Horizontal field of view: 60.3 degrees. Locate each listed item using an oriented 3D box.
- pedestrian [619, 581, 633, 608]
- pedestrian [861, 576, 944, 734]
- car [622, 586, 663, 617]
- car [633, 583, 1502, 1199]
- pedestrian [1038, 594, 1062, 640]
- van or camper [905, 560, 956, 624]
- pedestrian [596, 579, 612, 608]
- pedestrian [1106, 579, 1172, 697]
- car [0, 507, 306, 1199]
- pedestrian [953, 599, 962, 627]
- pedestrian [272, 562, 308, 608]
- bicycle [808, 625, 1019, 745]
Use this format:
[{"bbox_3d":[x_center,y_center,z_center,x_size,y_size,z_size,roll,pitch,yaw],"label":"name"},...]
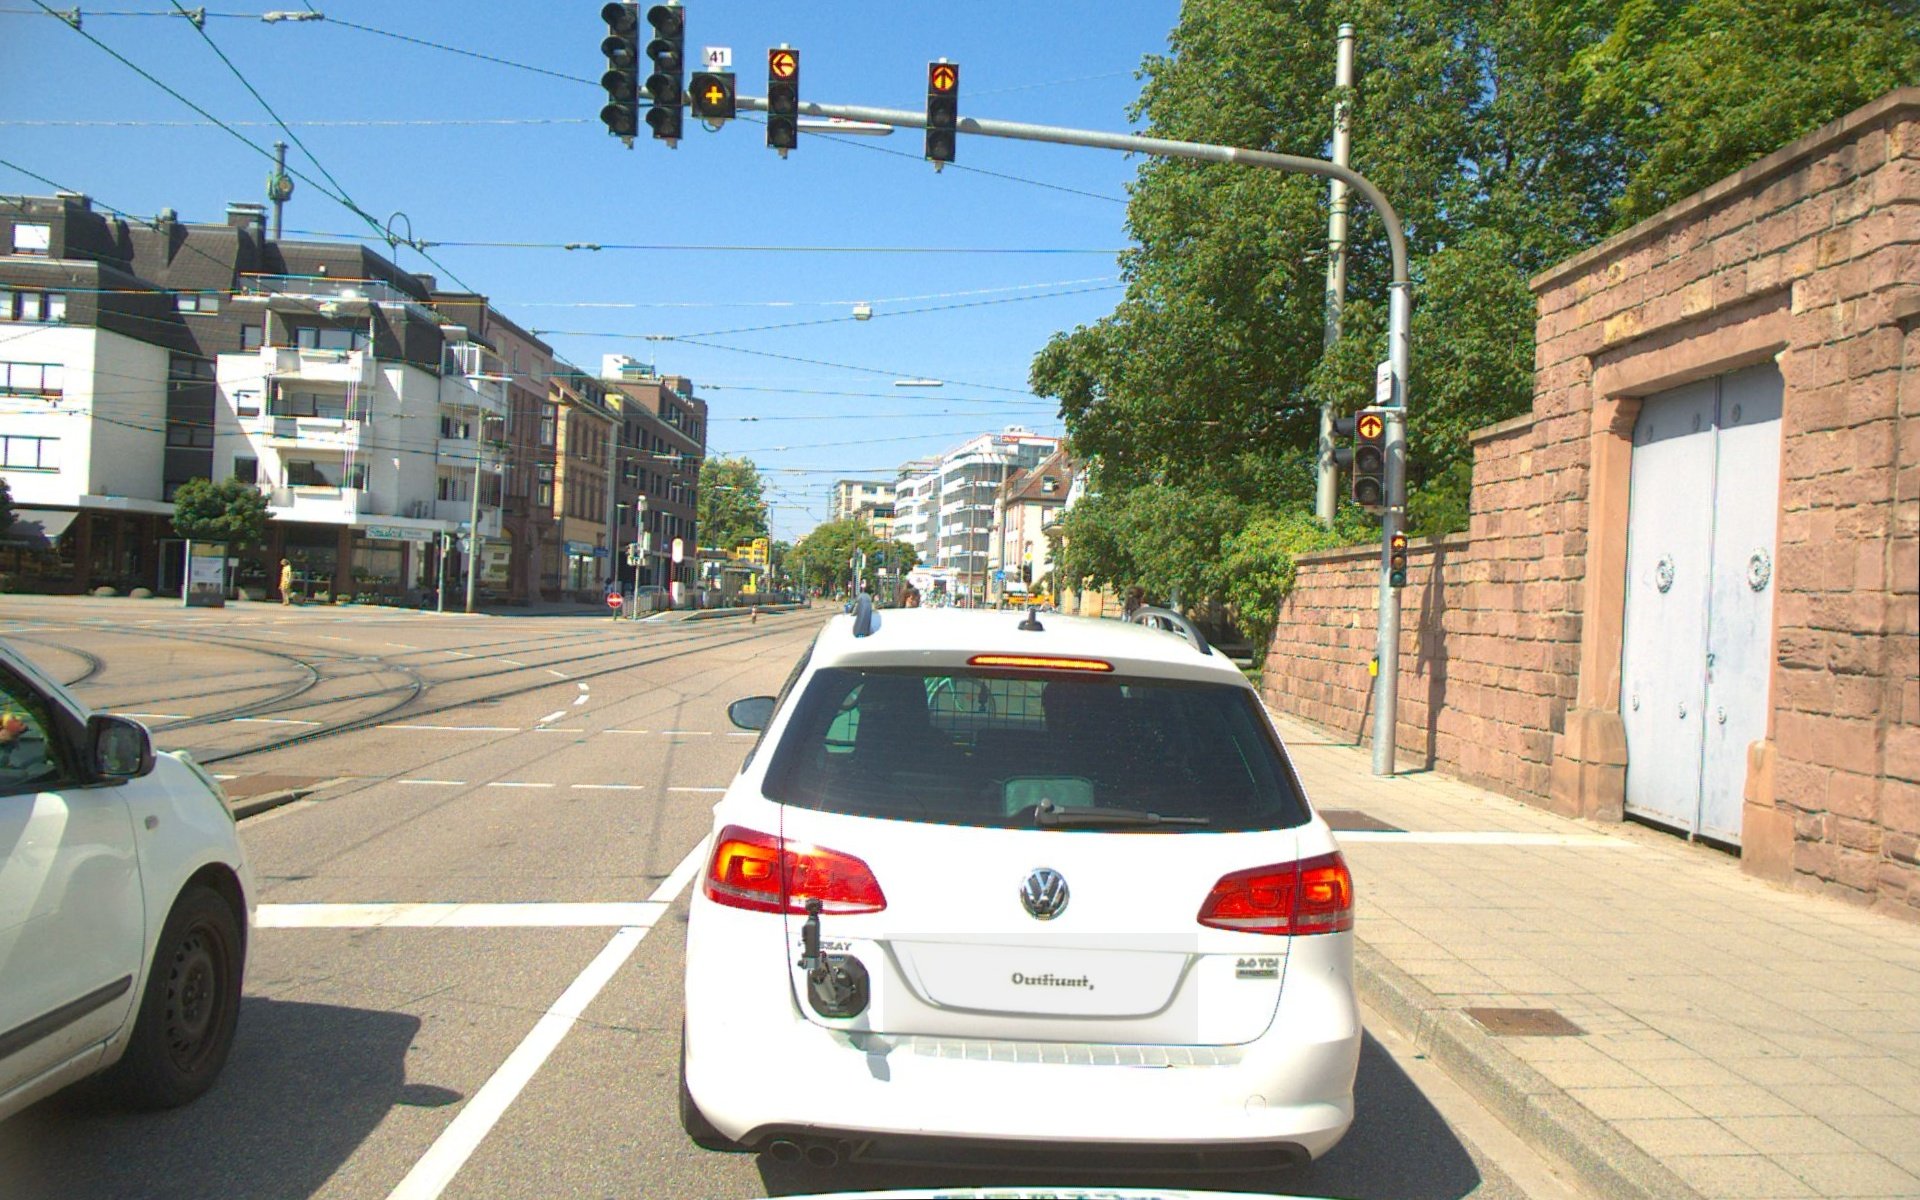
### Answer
[{"bbox_3d":[-22.099,-0.333,109.485,0.845,1.773,0.973,1,-1,-6],"label":"pedestrian"},{"bbox_3d":[-0.603,0.557,17.133,0.732,1.599,0.673,1,1,-12],"label":"pedestrian"},{"bbox_3d":[-17.641,0.114,92.038,1.706,1.646,3.996,0,-1,-4],"label":"car"},{"bbox_3d":[0.190,0.718,5.422,1.771,1.473,3.999,2,0,-1],"label":"car"},{"bbox_3d":[3.570,0.678,65.703,0.844,1.773,0.974,0,-1,-3],"label":"pedestrian"},{"bbox_3d":[-1.477,-0.363,84.794,2.514,3.147,5.701,0,-1,-1],"label":"van or camper"},{"bbox_3d":[-22.219,-0.423,103.305,0.845,1.773,0.973,1,-1,-6],"label":"pedestrian"},{"bbox_3d":[2.612,0.552,24.192,0.932,1.680,0.975,0,-1,6],"label":"pedestrian"},{"bbox_3d":[-2.840,0.595,3.299,1.608,1.593,3.803,1,1,-1],"label":"car"},{"bbox_3d":[-0.221,1.092,139.542,0.675,2.366,1.232,0,-1,0],"label":"pedestrian"},{"bbox_3d":[-26.149,-0.575,64.581,0.845,1.773,0.974,0,-1,26],"label":"pedestrian"},{"bbox_3d":[-0.476,0.848,16.586,1.985,1.109,0.708,2,0,-14],"label":"bicycle"}]
